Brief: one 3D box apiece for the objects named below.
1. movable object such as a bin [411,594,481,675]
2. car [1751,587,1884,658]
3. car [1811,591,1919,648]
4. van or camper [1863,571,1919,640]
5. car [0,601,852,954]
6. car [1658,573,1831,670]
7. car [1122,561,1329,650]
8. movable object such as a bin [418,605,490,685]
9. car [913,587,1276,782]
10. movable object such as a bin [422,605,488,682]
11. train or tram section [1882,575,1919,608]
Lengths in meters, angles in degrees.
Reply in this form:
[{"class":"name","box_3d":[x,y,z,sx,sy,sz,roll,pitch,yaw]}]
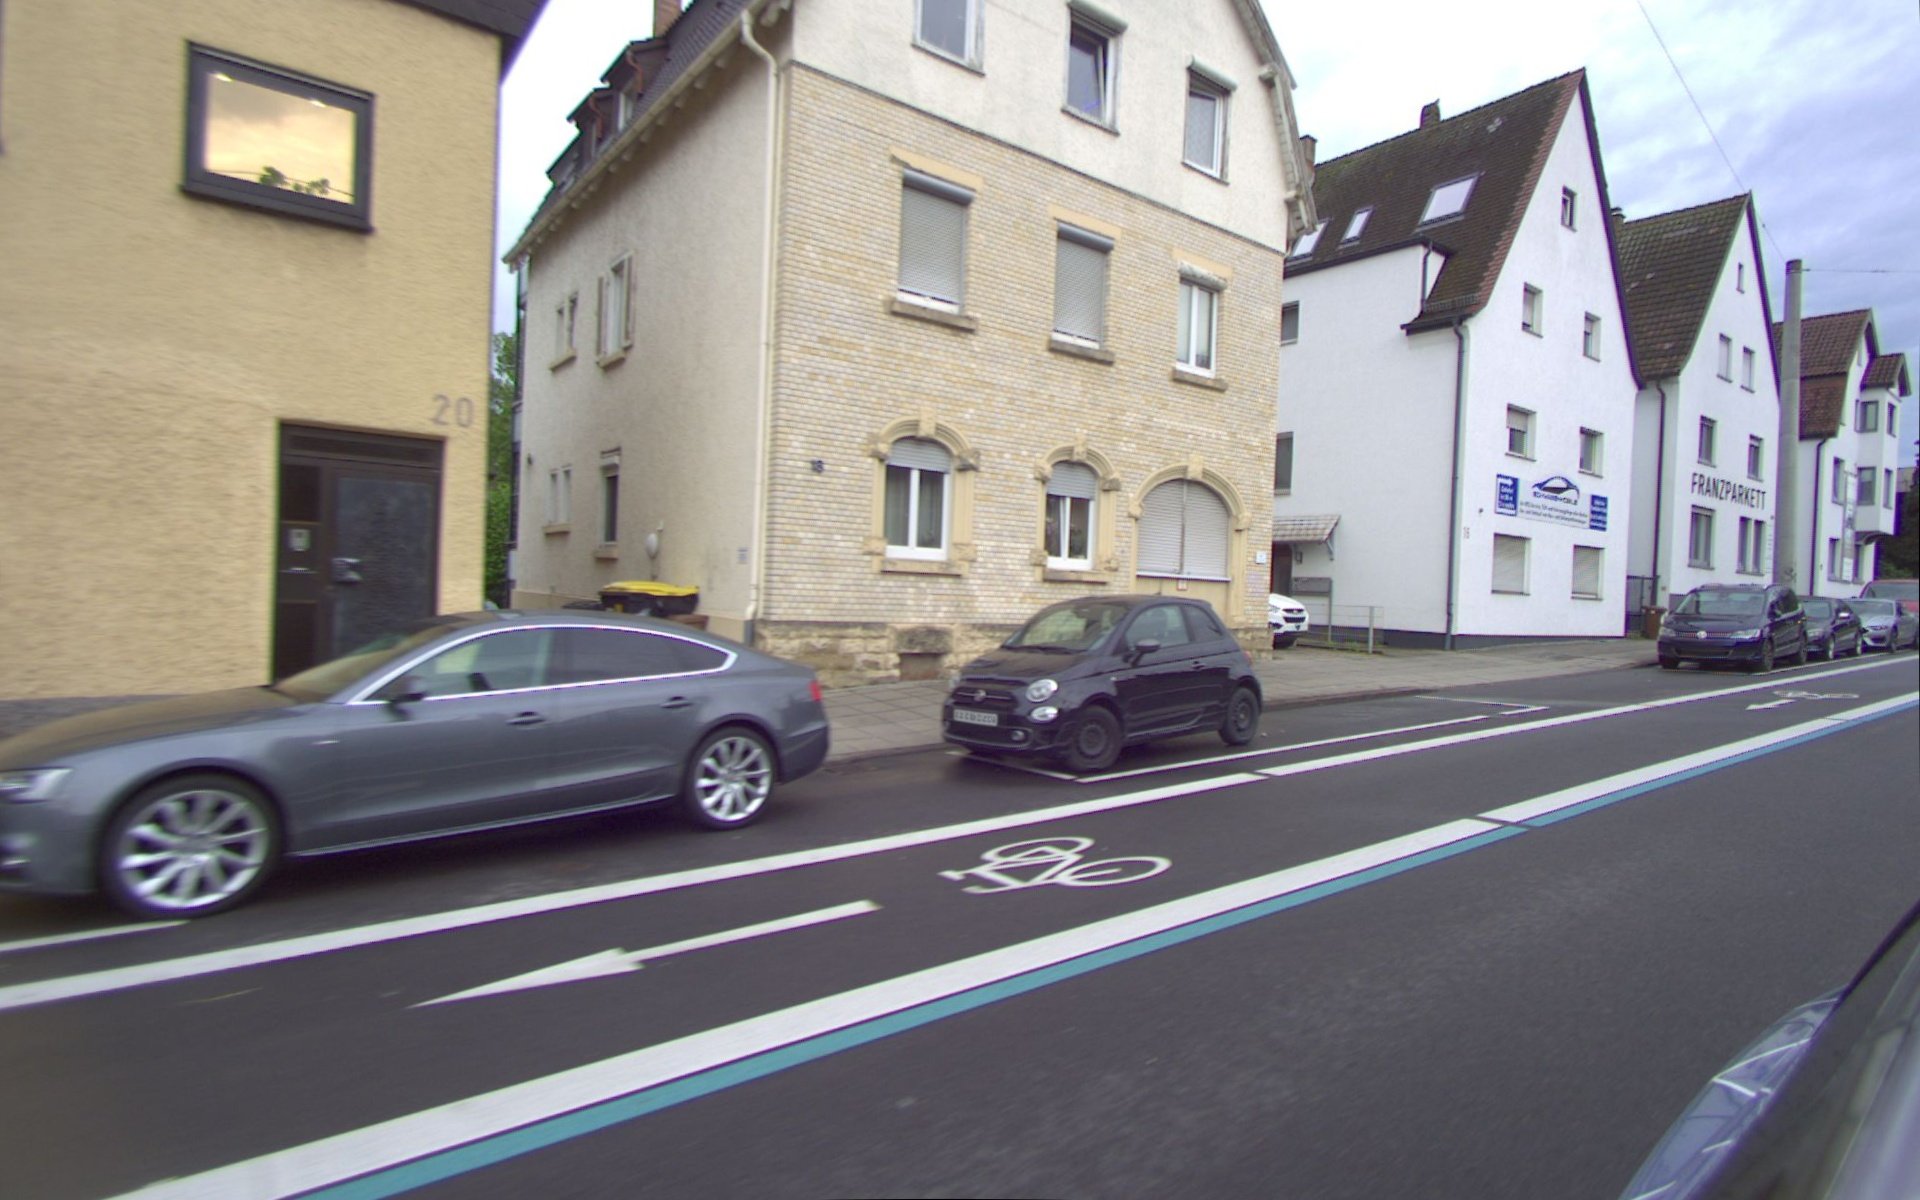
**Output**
[{"class":"movable object such as a bin","box_3d":[-6.813,0.446,13.419,0.714,1.035,0.579,0,0,-40]},{"class":"car","box_3d":[20.338,0.488,23.955,4.060,1.558,1.637,0,0,-39]},{"class":"car","box_3d":[24.849,0.458,27.322,4.582,1.393,1.802,0,1,-36]},{"class":"van or camper","box_3d":[29.148,0.138,30.625,4.903,1.944,1.856,0,2,-38]},{"class":"car","box_3d":[-2.991,0.724,6.112,4.474,1.424,1.790,0,0,-42]},{"class":"car","box_3d":[16.470,0.398,21.169,4.601,1.823,1.843,0,0,-39]},{"class":"car","box_3d":[5.667,0.049,21.951,1.837,1.674,3.996,1,2,-40]},{"class":"movable object such as a bin","box_3d":[-6.305,0.546,12.619,0.714,0.958,0.475,0,0,-40]},{"class":"car","box_3d":[1.376,0.652,9.623,3.453,1.517,1.567,0,0,-42]},{"class":"movable object such as a bin","box_3d":[-6.504,0.545,13.037,0.684,0.958,0.461,0,0,-40]},{"class":"train or tram section","box_3d":[117.038,-1.028,120.224,2.837,4.021,19.228,0,0,16]}]
